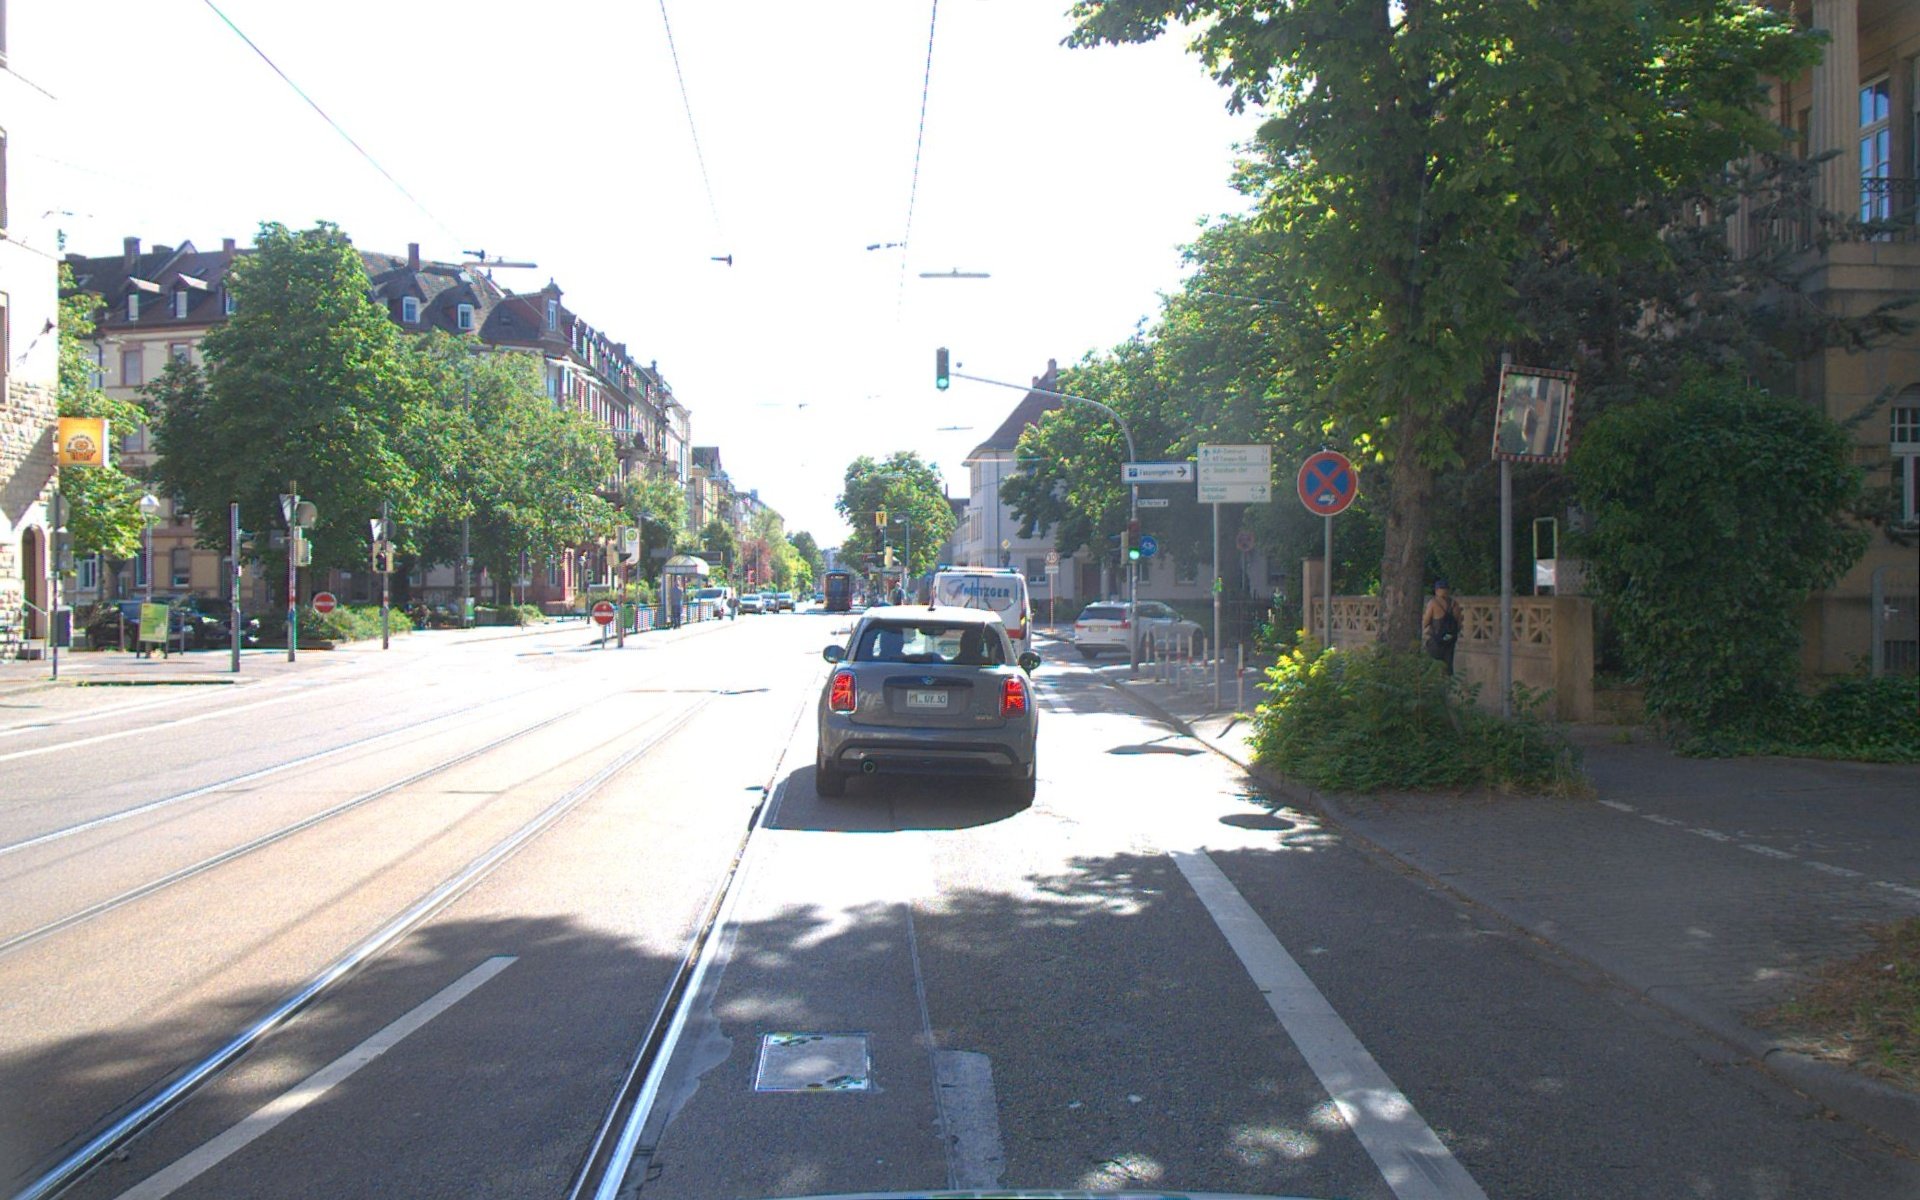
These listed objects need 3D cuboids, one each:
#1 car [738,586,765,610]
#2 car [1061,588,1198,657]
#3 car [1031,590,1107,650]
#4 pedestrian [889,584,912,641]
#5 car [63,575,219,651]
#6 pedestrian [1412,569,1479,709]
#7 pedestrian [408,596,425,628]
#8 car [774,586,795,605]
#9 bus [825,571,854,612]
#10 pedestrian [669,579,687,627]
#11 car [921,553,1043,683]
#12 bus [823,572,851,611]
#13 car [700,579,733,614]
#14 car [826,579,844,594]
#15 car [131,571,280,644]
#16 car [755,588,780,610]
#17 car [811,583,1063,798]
[{"bbox_3d":[-14.998,-0.117,119.120,1.741,1.646,3.996,1,0,-5],"label":"car"},{"bbox_3d":[4.380,0.574,42.320,1.957,1.646,3.990,1,-1,31],"label":"car"},{"bbox_3d":[3.316,0.604,50.969,1.953,1.736,3.999,1,0,-2],"label":"car"},{"bbox_3d":[-2.144,0.445,59.396,0.779,2.049,0.740,1,-1,-3],"label":"pedestrian"},{"bbox_3d":[-23.128,0.361,46.702,3.909,2.049,1.998,1,-1,27],"label":"car"},{"bbox_3d":[6.064,0.481,20.692,0.580,1.700,0.646,-2,-1,-2],"label":"pedestrian"},{"bbox_3d":[-21.101,0.450,64.262,0.570,1.223,0.604,-1,0,-23],"label":"pedestrian"},{"bbox_3d":[-15.199,-0.365,143.492,1.741,1.646,3.996,1,0,-5],"label":"car"},{"bbox_3d":[-10.953,-0.756,149.802,2.339,3.558,7.374,1,0,-6],"label":"bus"},{"bbox_3d":[-10.914,0.106,63.952,0.569,1.826,0.604,0,0,-20],"label":"pedestrian"},{"bbox_3d":[0.325,0.331,31.399,2.075,2.247,4.942,1,0,-2],"label":"car"},{"bbox_3d":[-11.709,-0.749,157.195,2.339,3.558,7.374,1,0,-6],"label":"bus"},{"bbox_3d":[-14.987,-0.192,101.886,1.956,2.049,5.020,1,0,-8],"label":"car"},{"bbox_3d":[-13.807,-1.473,182.440,1.827,1.591,3.996,1,0,-5],"label":"car"},{"bbox_3d":[-22.367,0.212,49.011,3.909,2.049,1.998,1,-1,27],"label":"car"},{"bbox_3d":[-14.787,-0.053,127.282,1.741,1.646,3.996,1,0,-5],"label":"car"},{"bbox_3d":[-0.218,0.659,13.812,1.779,1.514,3.998,1,0,-2],"label":"car"}]
